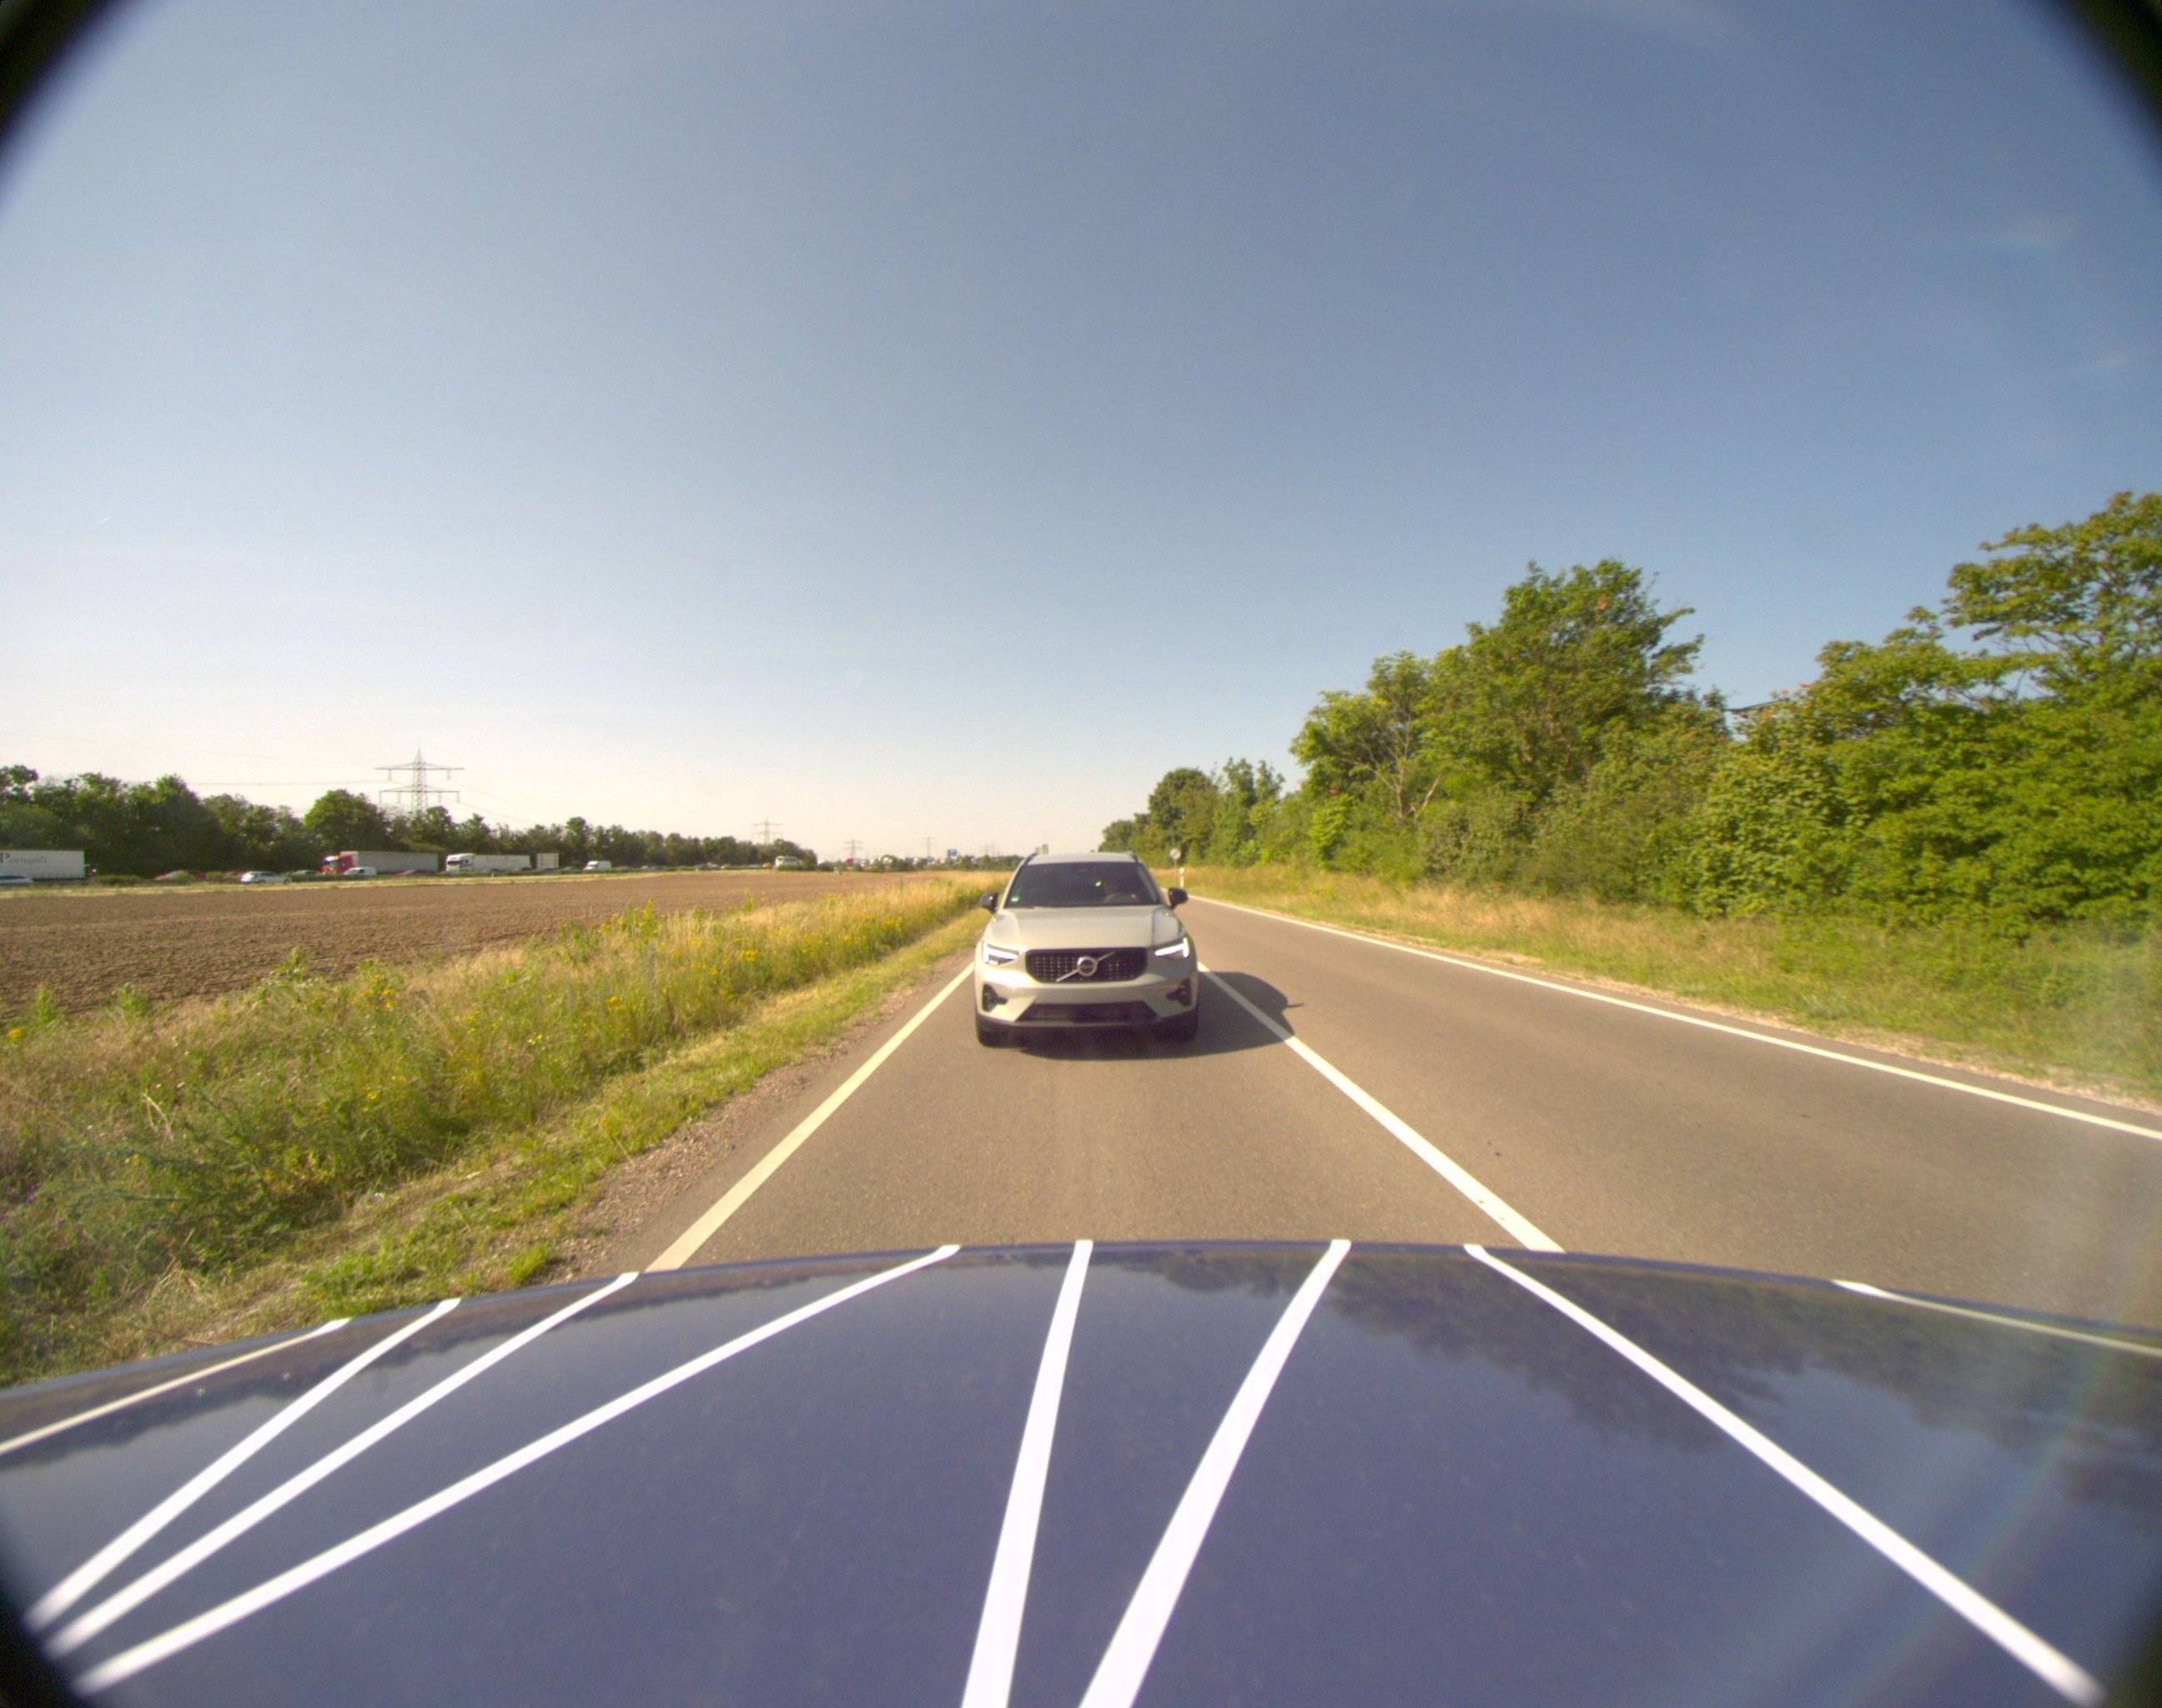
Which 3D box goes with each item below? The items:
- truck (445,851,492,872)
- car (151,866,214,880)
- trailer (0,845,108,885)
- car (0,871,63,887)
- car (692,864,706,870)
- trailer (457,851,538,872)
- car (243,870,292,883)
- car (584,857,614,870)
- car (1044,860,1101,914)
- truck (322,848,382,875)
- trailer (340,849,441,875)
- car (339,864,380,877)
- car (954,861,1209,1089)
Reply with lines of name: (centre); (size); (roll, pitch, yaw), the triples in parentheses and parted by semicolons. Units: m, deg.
truck: (-104.088, 1.242, 129.311); (3.211, 3.510, 6.108); (0, 0, -2)
car: (-97.782, 2.084, 82.786); (1.855, 1.377, 4.247); (-2, -1, -2)
trailer: (-102.978, 1.067, 72.550); (3.080, 3.711, 13.366); (-1, 0, 0)
car: (-97.372, 2.277, 69.851); (1.855, 1.377, 4.247); (-2, -1, -2)
car: (-90.705, 3.117, 180.344); (1.550, 1.227, 3.619); (-3, -1, -2)
trailer: (-104.324, 1.292, 136.387); (3.211, 3.510, 15.081); (0, 0, -2)
car: (-89.028, 2.447, 83.203); (1.550, 1.227, 3.619); (-3, -1, -2)
car: (-99.647, 1.964, 157.154); (2.042, 2.432, 6.413); (-1, 0, -1)
car: (-0.327, 1.061, 25.955); (1.790, 1.664, 4.000); (-1, -1, -2)
truck: (-104.095, 1.112, 108.662); (2.953, 3.711, 5.869); (-1, 0, -1)
trailer: (-104.238, 1.145, 115.269); (2.953, 3.711, 13.781); (-1, 0, -1)
car: (-97.543, 2.163, 102.776); (1.707, 1.629, 4.093); (-2, 0, -2)
car: (-0.017, 0.905, 7.660); (1.840, 1.627, 4.135); (-1, 0, -1)
